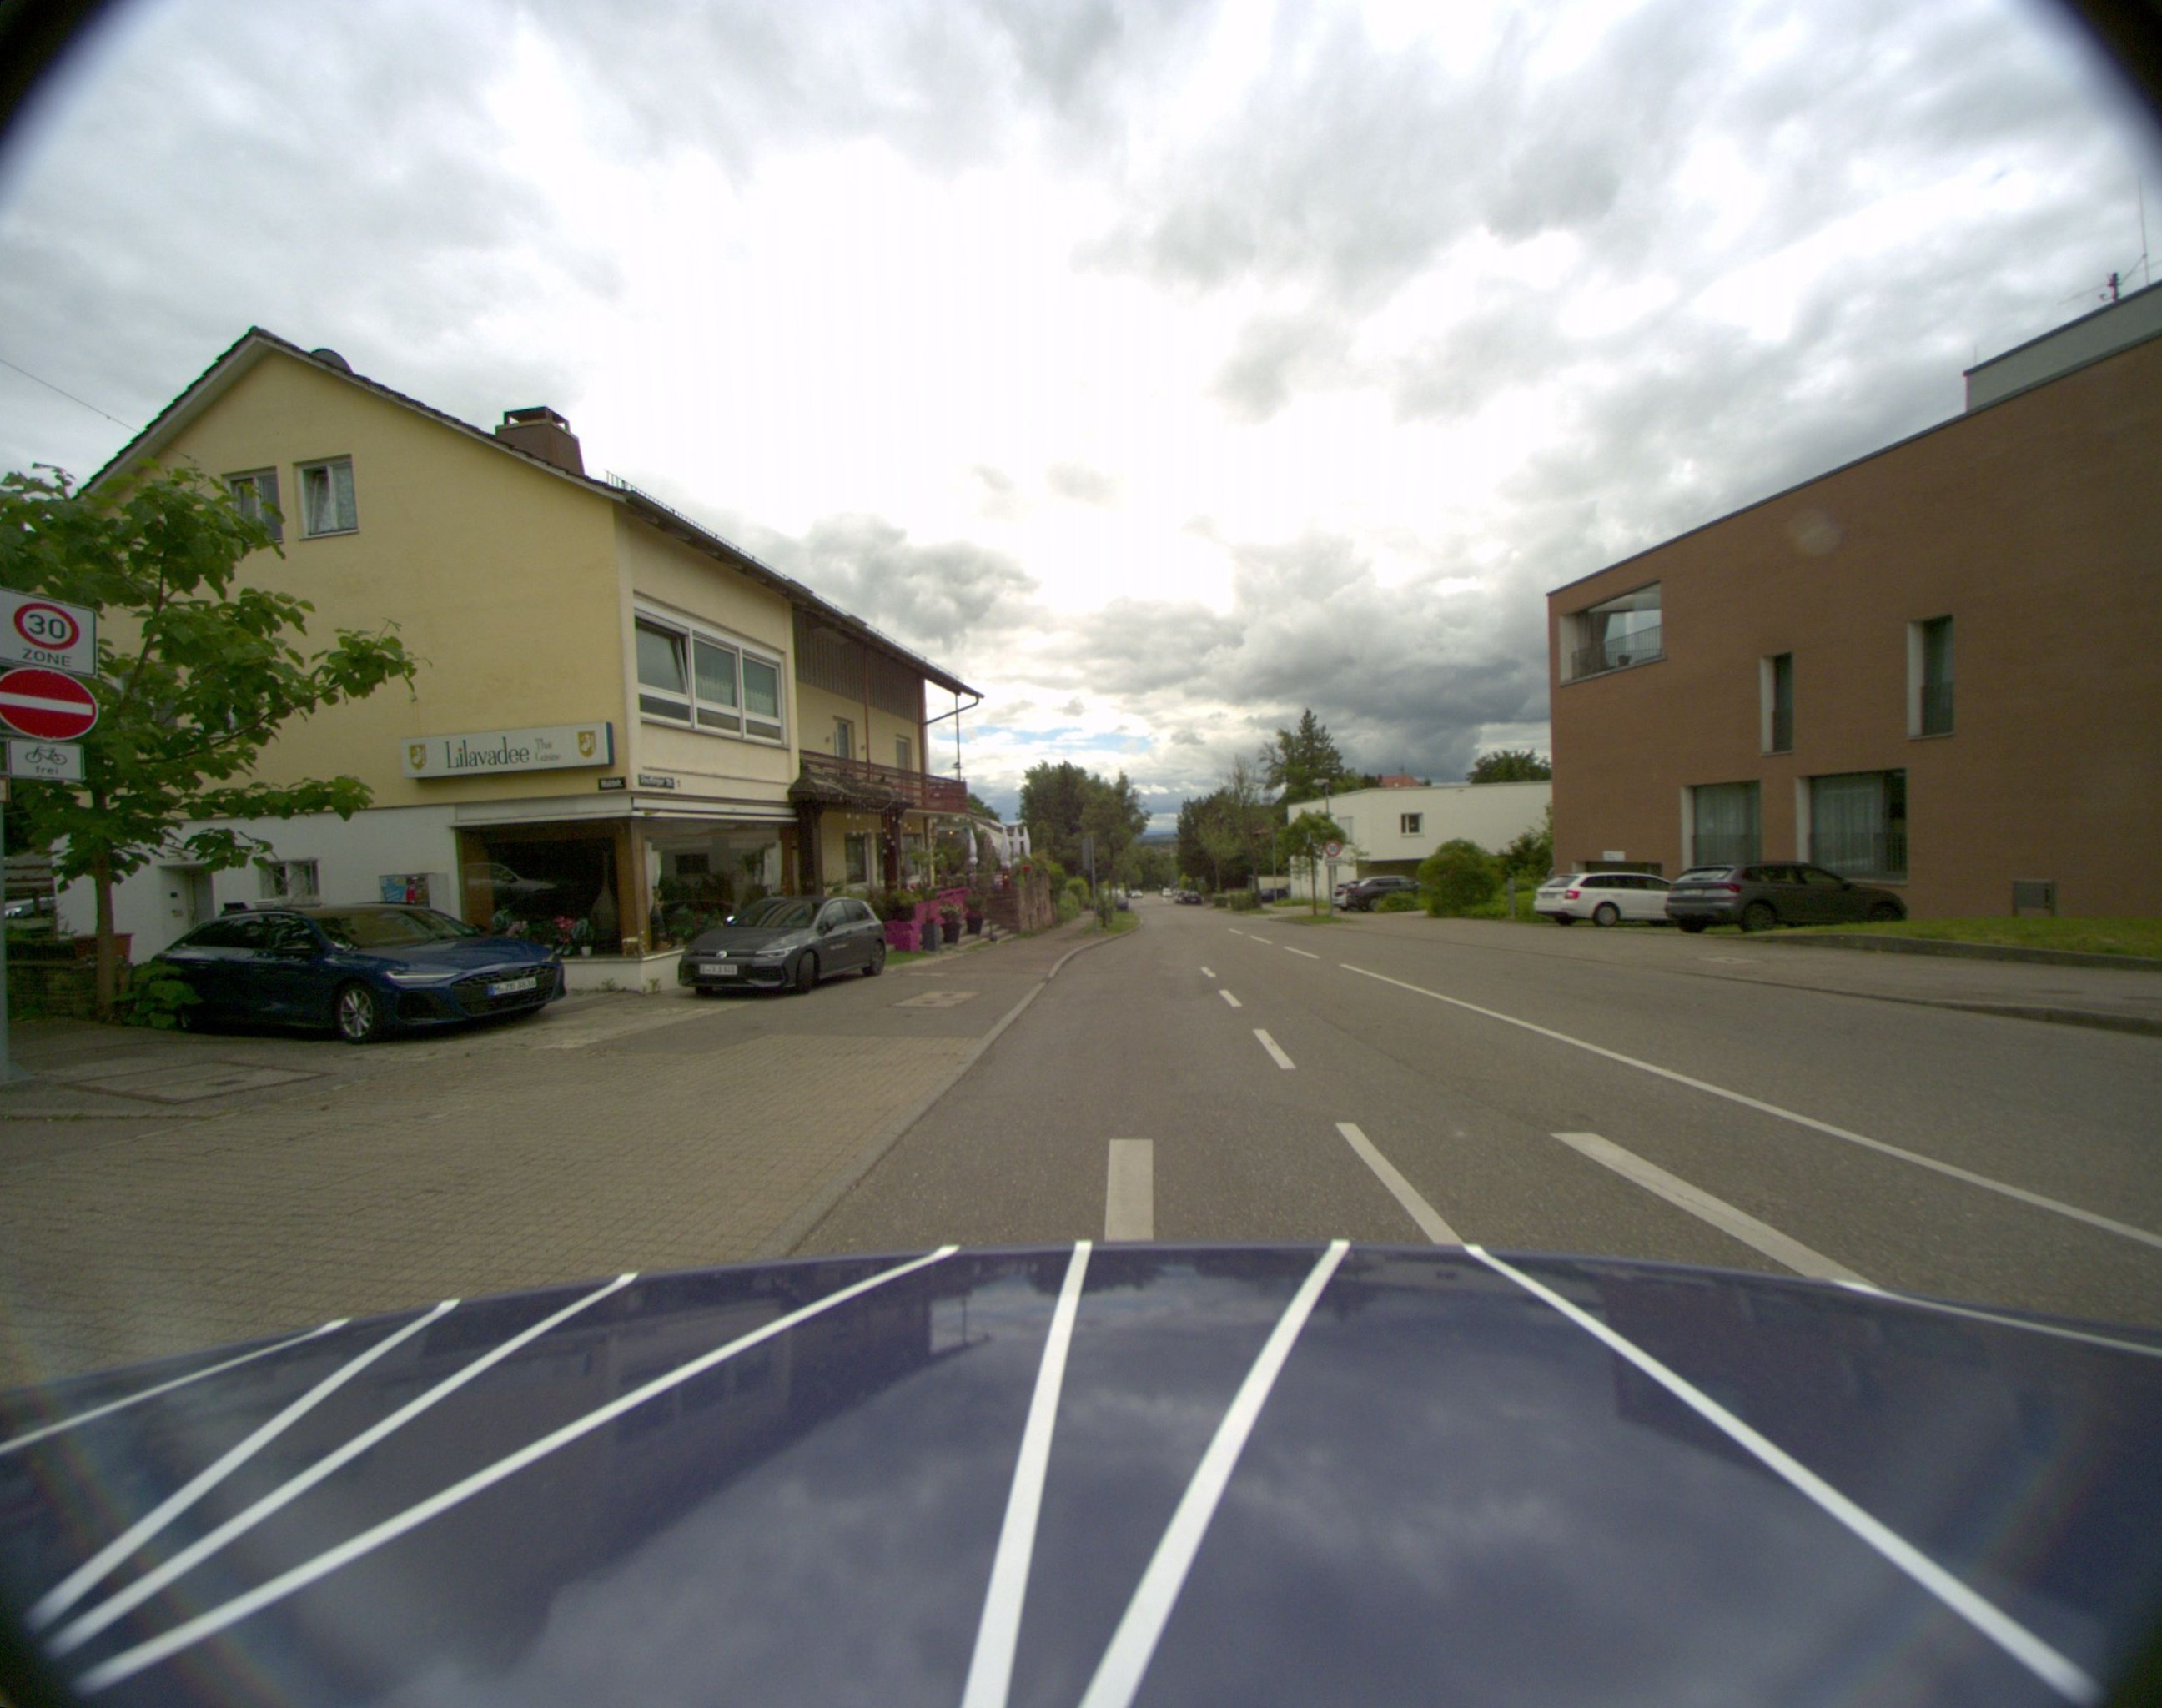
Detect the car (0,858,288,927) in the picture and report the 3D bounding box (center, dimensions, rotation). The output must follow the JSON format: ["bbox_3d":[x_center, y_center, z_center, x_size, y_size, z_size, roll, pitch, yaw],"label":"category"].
[{"bbox_3d":[-22.560,0.953,18.341,1.795,1.452,4.336,-2,-4,22],"label":"car"}]

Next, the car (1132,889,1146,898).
[{"bbox_3d":[10.070,6.799,131.646,1.884,1.412,4.368,-1,-1,-1],"label":"car"}]

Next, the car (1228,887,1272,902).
[{"bbox_3d":[16.322,3.897,73.506,3.995,1.278,1.665,-2,-3,7],"label":"car"}]

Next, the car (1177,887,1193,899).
[{"bbox_3d":[12.223,4.572,89.339,1.661,1.412,4.372,-2,-3,5],"label":"car"}]

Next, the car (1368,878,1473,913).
[{"bbox_3d":[15.498,1.902,34.810,3.996,1.476,1.728,-2,-3,2],"label":"car"}]

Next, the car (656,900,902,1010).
[{"bbox_3d":[-4.576,1.487,12.338,1.796,1.452,4.332,-1,-4,8],"label":"car"}]

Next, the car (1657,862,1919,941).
[{"bbox_3d":[14.870,0.991,16.113,3.998,1.476,1.727,-1,-3,-3],"label":"car"}]

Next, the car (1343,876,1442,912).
[{"bbox_3d":[14.947,1.921,36.649,3.996,1.585,1.795,-2,-3,2],"label":"car"}]

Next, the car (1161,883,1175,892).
[{"bbox_3d":[15.780,6.095,137.747,1.884,1.412,4.368,-1,-1,-2],"label":"car"}]

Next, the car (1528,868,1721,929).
[{"bbox_3d":[14.556,1.189,20.487,3.998,1.476,1.727,-1,-3,-3],"label":"car"}]

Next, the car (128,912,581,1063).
[{"bbox_3d":[-8.552,1.426,8.988,4.739,1.378,1.802,-2,-1,17],"label":"car"}]

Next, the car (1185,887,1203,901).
[{"bbox_3d":[11.932,4.218,80.345,1.661,1.412,4.004,-2,-3,5],"label":"car"}]
